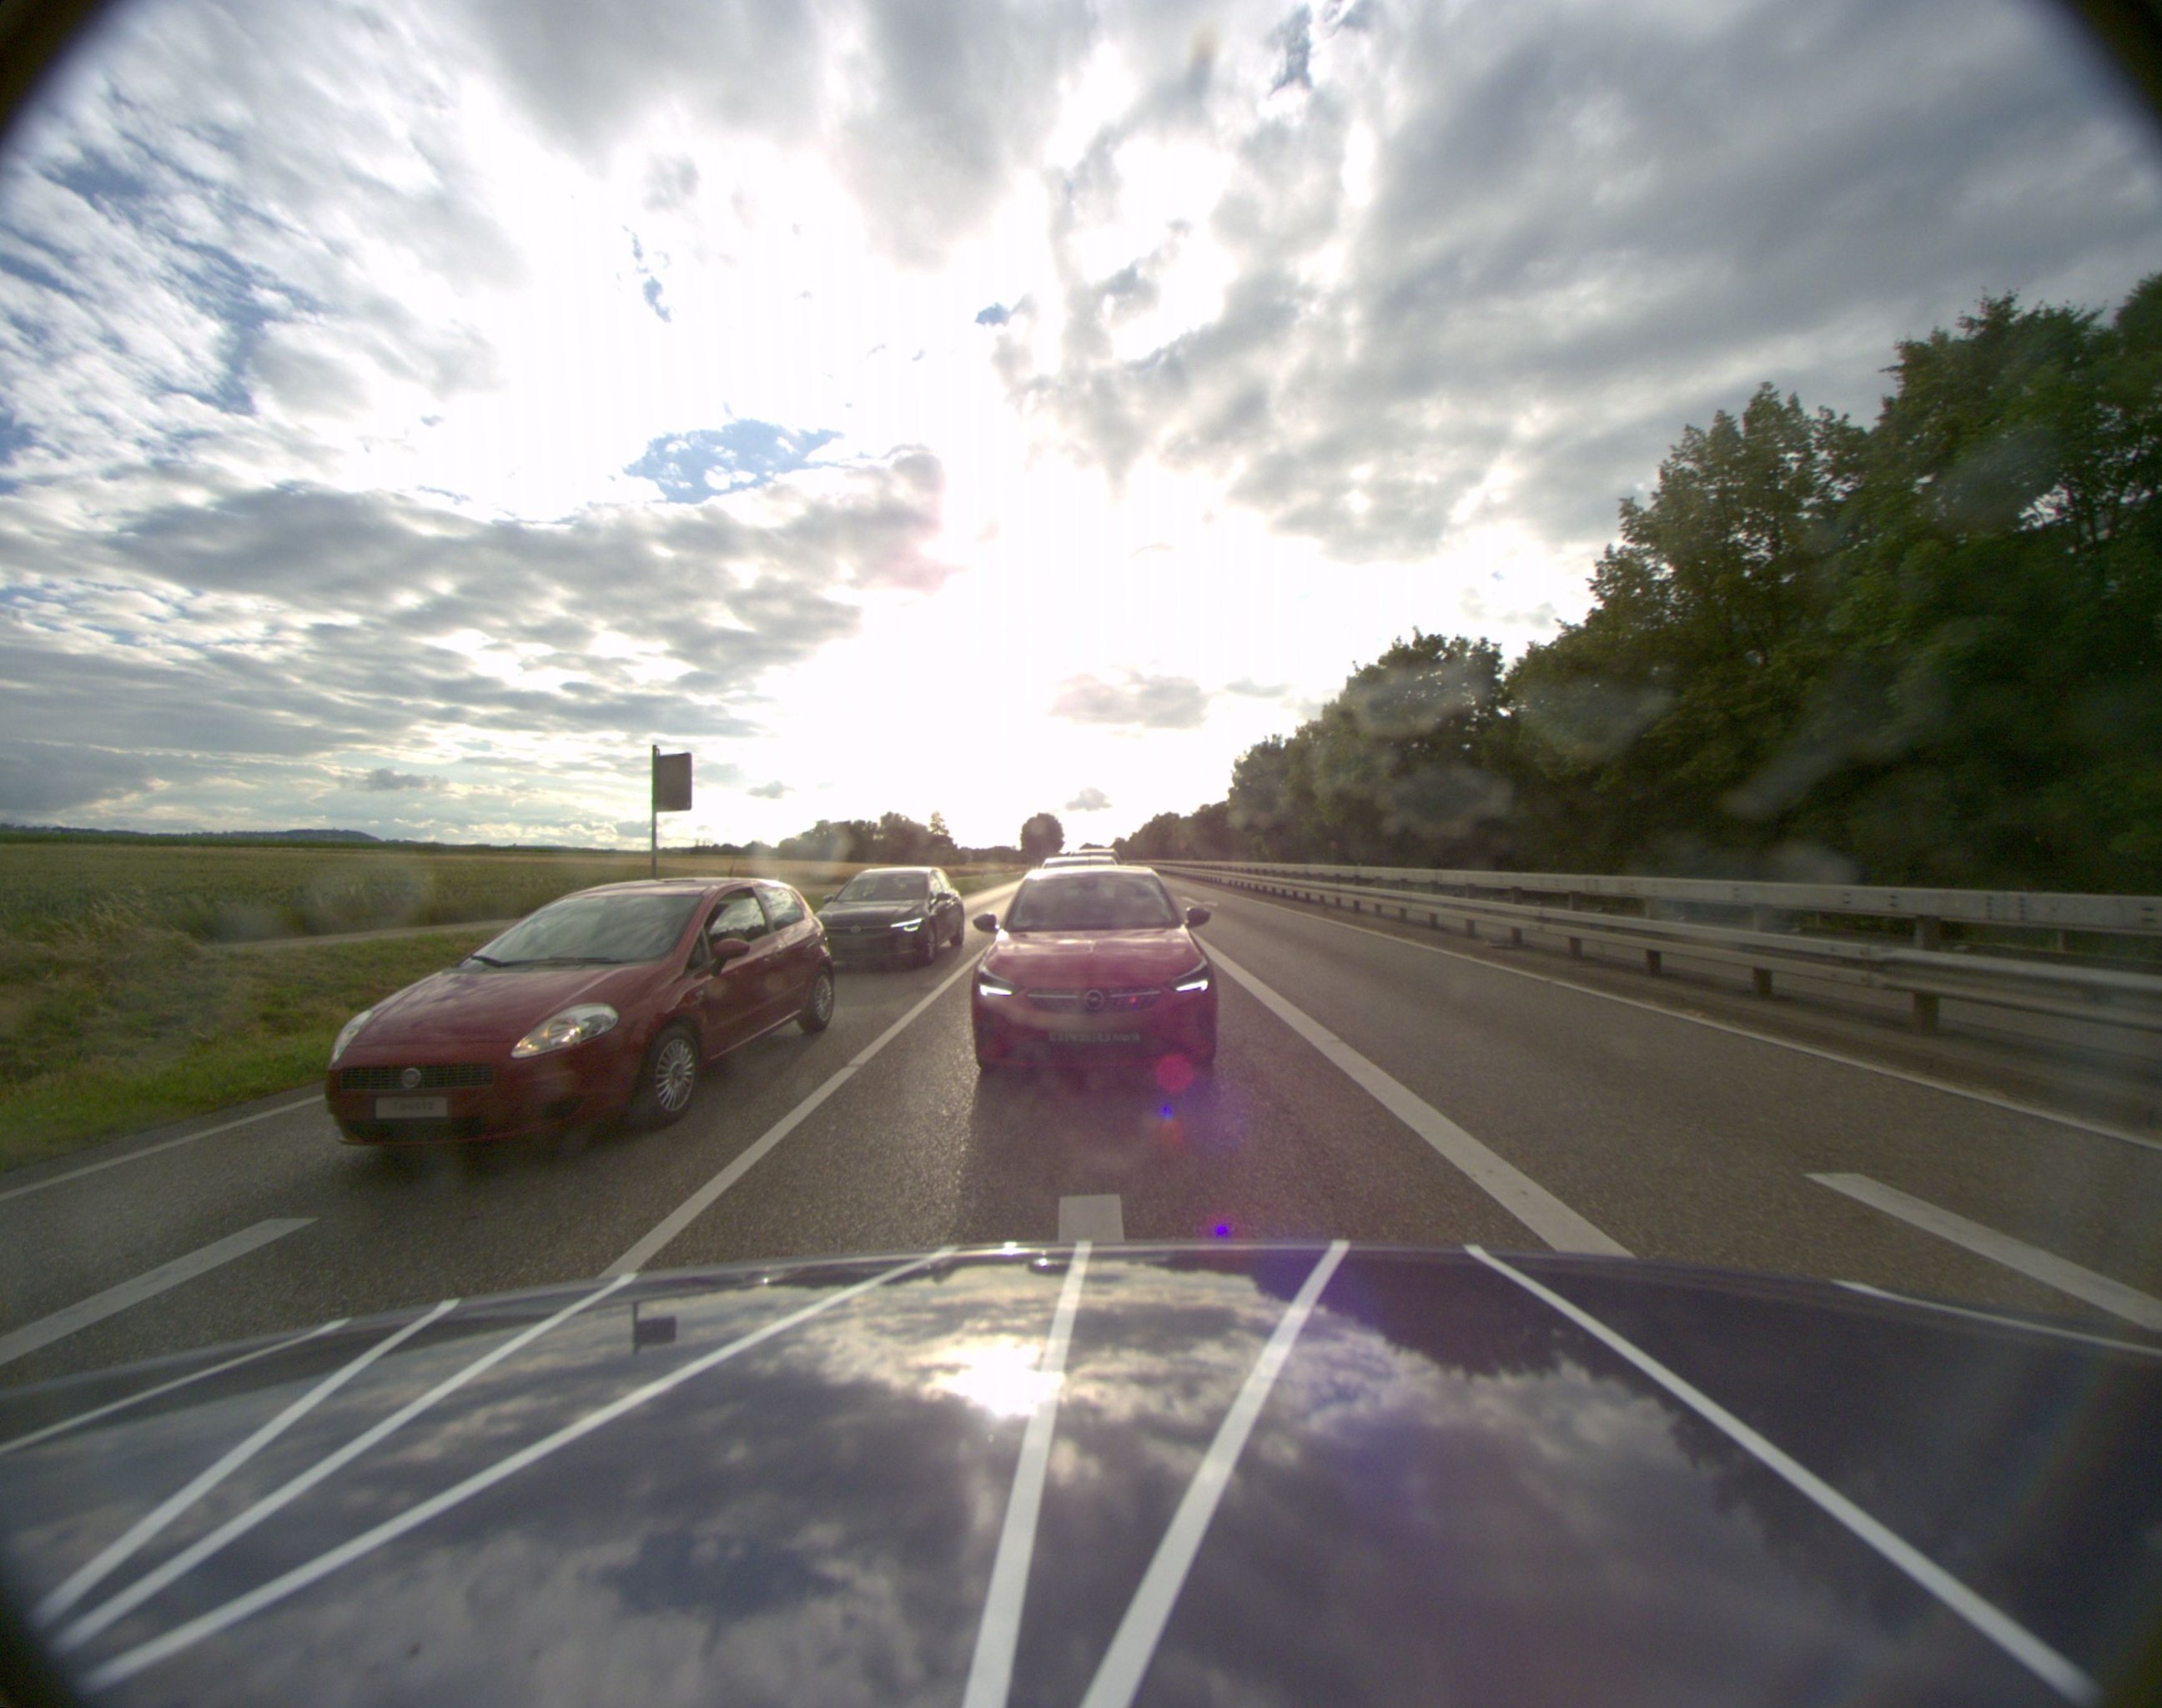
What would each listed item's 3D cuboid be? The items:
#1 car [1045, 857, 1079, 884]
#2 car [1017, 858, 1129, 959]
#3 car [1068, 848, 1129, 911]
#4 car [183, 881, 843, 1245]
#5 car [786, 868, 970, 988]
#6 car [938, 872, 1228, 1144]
[{"bbox_3d":[-1.088,0.946,45.440,1.799,1.448,4.032,-2,1,1],"label":"car"},{"bbox_3d":[-0.098,0.880,14.107,1.712,1.448,4.061,-2,1,1],"label":"car"},{"bbox_3d":[0.531,0.722,23.803,1.671,1.730,4.032,-2,1,1],"label":"car"},{"bbox_3d":[-3.249,1.046,5.484,1.712,1.448,3.908,-2,1,1],"label":"car"},{"bbox_3d":[-3.054,1.044,12.346,1.799,1.448,4.032,-2,1,1],"label":"car"},{"bbox_3d":[0.041,0.993,6.666,1.712,1.448,4.061,-2,1,1],"label":"car"}]
